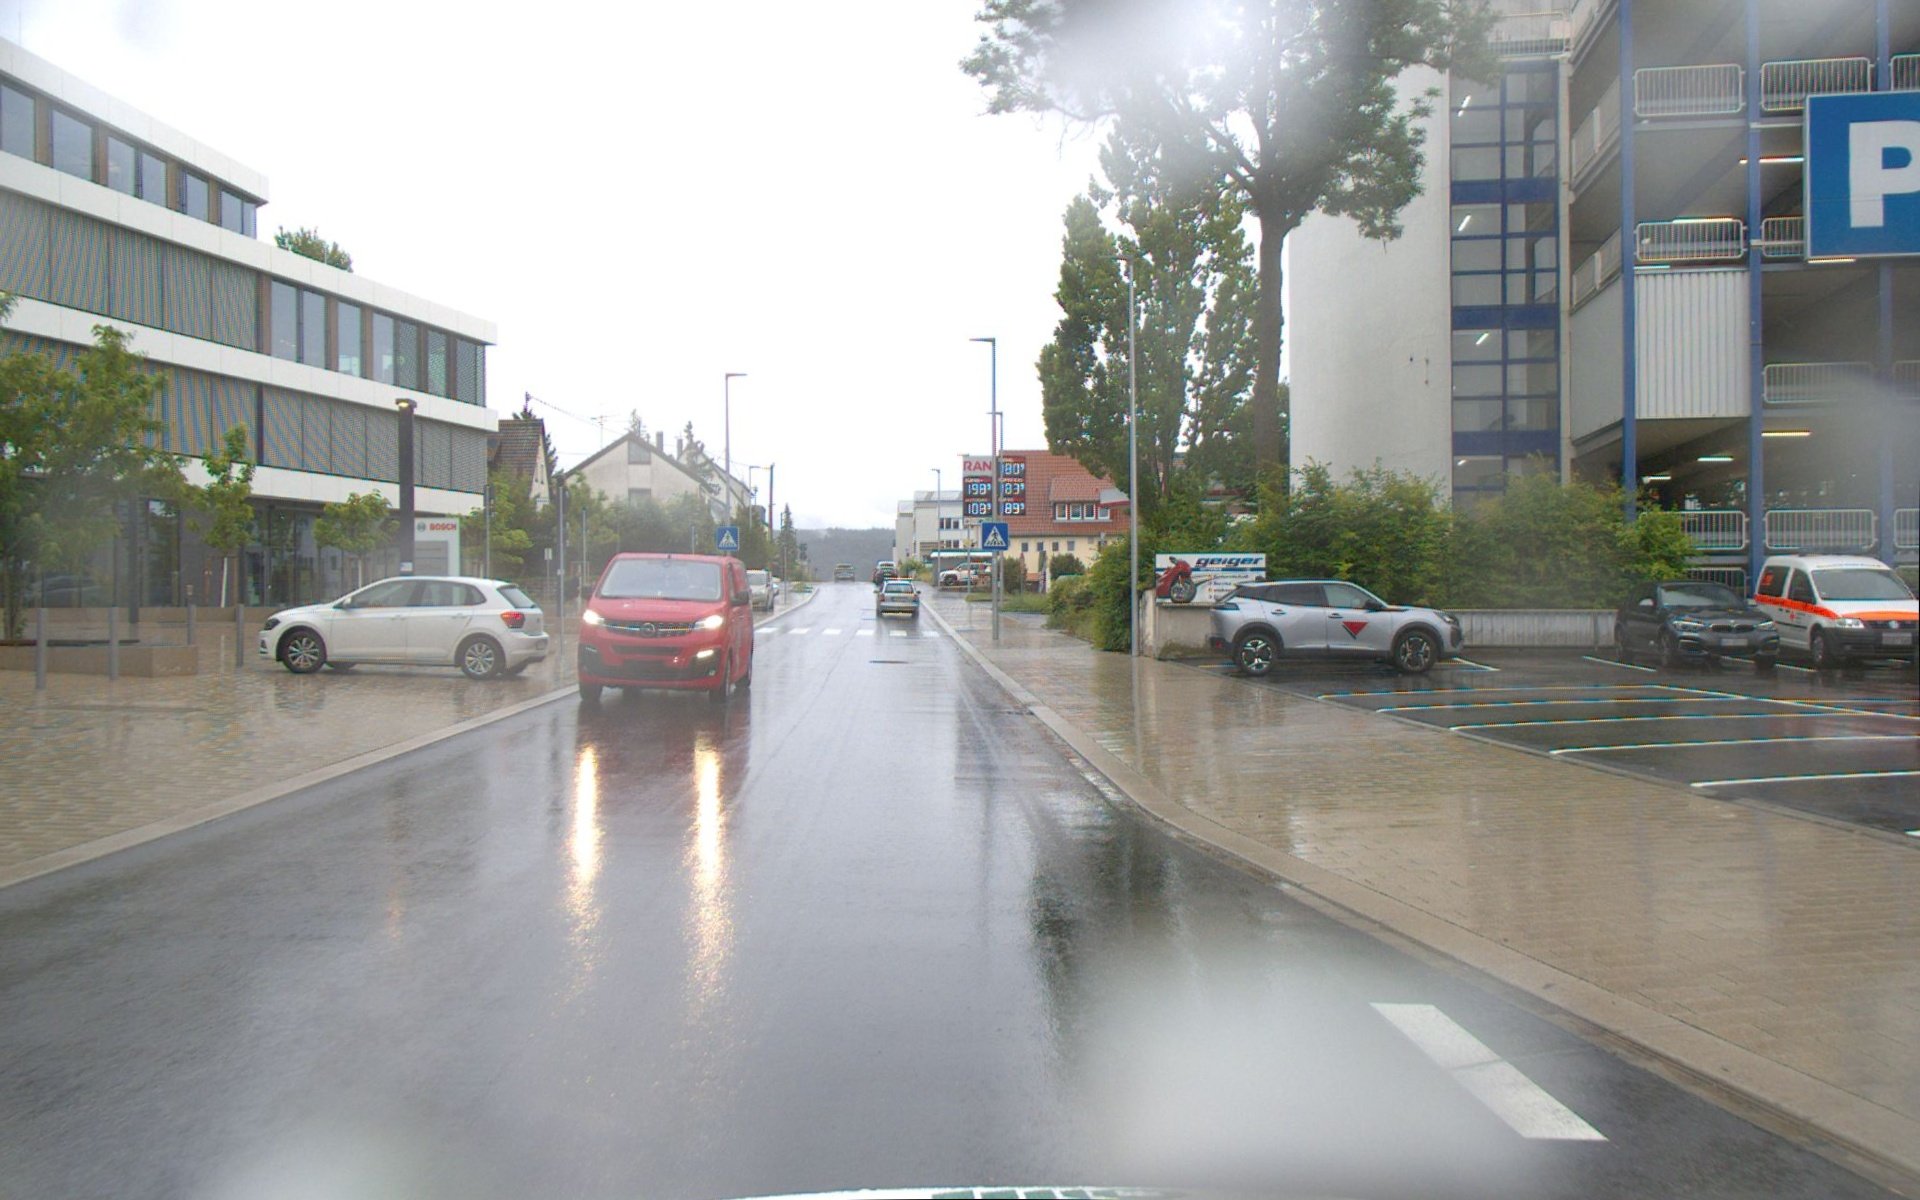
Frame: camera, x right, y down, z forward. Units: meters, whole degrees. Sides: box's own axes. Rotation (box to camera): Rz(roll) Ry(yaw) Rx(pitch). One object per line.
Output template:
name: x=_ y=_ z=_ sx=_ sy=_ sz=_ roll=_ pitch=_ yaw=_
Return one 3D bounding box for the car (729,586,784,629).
car: x=-8.461 y=0.287 z=69.098 sx=1.954 sy=1.657 sz=4.151 roll=0 pitch=1 yaw=-3

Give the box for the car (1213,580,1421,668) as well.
car: x=6.481 y=0.427 z=30.342 sx=3.544 sy=1.520 sz=1.808 roll=-1 pitch=0 yaw=6

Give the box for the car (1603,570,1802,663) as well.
car: x=12.588 y=0.248 z=28.331 sx=1.891 sy=1.467 sz=4.209 roll=0 pitch=0 yaw=6

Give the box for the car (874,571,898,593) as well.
car: x=-6.604 y=-1.563 z=147.797 sx=1.954 sy=1.735 sz=3.997 roll=4 pitch=-1 yaw=-3

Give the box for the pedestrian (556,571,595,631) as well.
pedestrian: x=-11.362 y=0.023 z=48.868 sx=0.993 sy=1.754 sz=0.771 roll=1 pitch=0 yaw=-5

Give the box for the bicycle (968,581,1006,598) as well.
bicycle: x=1.836 y=-0.742 z=112.646 sx=0.662 sy=1.085 sz=3.587 roll=4 pitch=-2 yaw=-33

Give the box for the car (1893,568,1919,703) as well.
car: x=12.678 y=0.411 z=18.489 sx=3.612 sy=1.526 sz=1.641 roll=0 pitch=0 yaw=-2

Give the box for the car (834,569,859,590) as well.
car: x=-10.488 y=-1.894 z=153.485 sx=2.111 sy=1.735 sz=3.997 roll=4 pitch=-1 yaw=-3

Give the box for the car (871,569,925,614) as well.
car: x=-2.515 y=-0.317 z=66.419 sx=1.910 sy=1.583 sz=3.995 roll=4 pitch=-1 yaw=-5

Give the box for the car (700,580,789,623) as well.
car: x=-11.966 y=0.118 z=91.605 sx=4.669 sy=2.049 sz=1.995 roll=4 pitch=-2 yaw=-11

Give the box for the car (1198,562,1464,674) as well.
car: x=6.103 y=0.295 z=27.631 sx=4.118 sy=1.678 sz=2.002 roll=-2 pitch=0 yaw=7

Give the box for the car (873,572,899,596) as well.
car: x=-6.020 y=-1.268 z=134.689 sx=1.954 sy=1.735 sz=3.997 roll=4 pitch=-1 yaw=-3

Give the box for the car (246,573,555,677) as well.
car: x=-8.030 y=0.340 z=24.031 sx=3.848 sy=1.448 sz=1.897 roll=0 pitch=0 yaw=-2

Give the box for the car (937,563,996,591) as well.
car: x=0.474 y=-1.635 z=119.200 sx=4.033 sy=1.735 sz=1.786 roll=4 pitch=-1 yaw=-6

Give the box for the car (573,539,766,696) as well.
car: x=-3.727 y=0.189 z=22.051 sx=1.963 sy=1.849 sz=4.976 roll=0 pitch=0 yaw=-3

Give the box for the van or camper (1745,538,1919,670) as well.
van or camper: x=15.045 y=0.044 z=28.206 sx=1.798 sy=2.072 sz=4.465 roll=0 pitch=0 yaw=9
